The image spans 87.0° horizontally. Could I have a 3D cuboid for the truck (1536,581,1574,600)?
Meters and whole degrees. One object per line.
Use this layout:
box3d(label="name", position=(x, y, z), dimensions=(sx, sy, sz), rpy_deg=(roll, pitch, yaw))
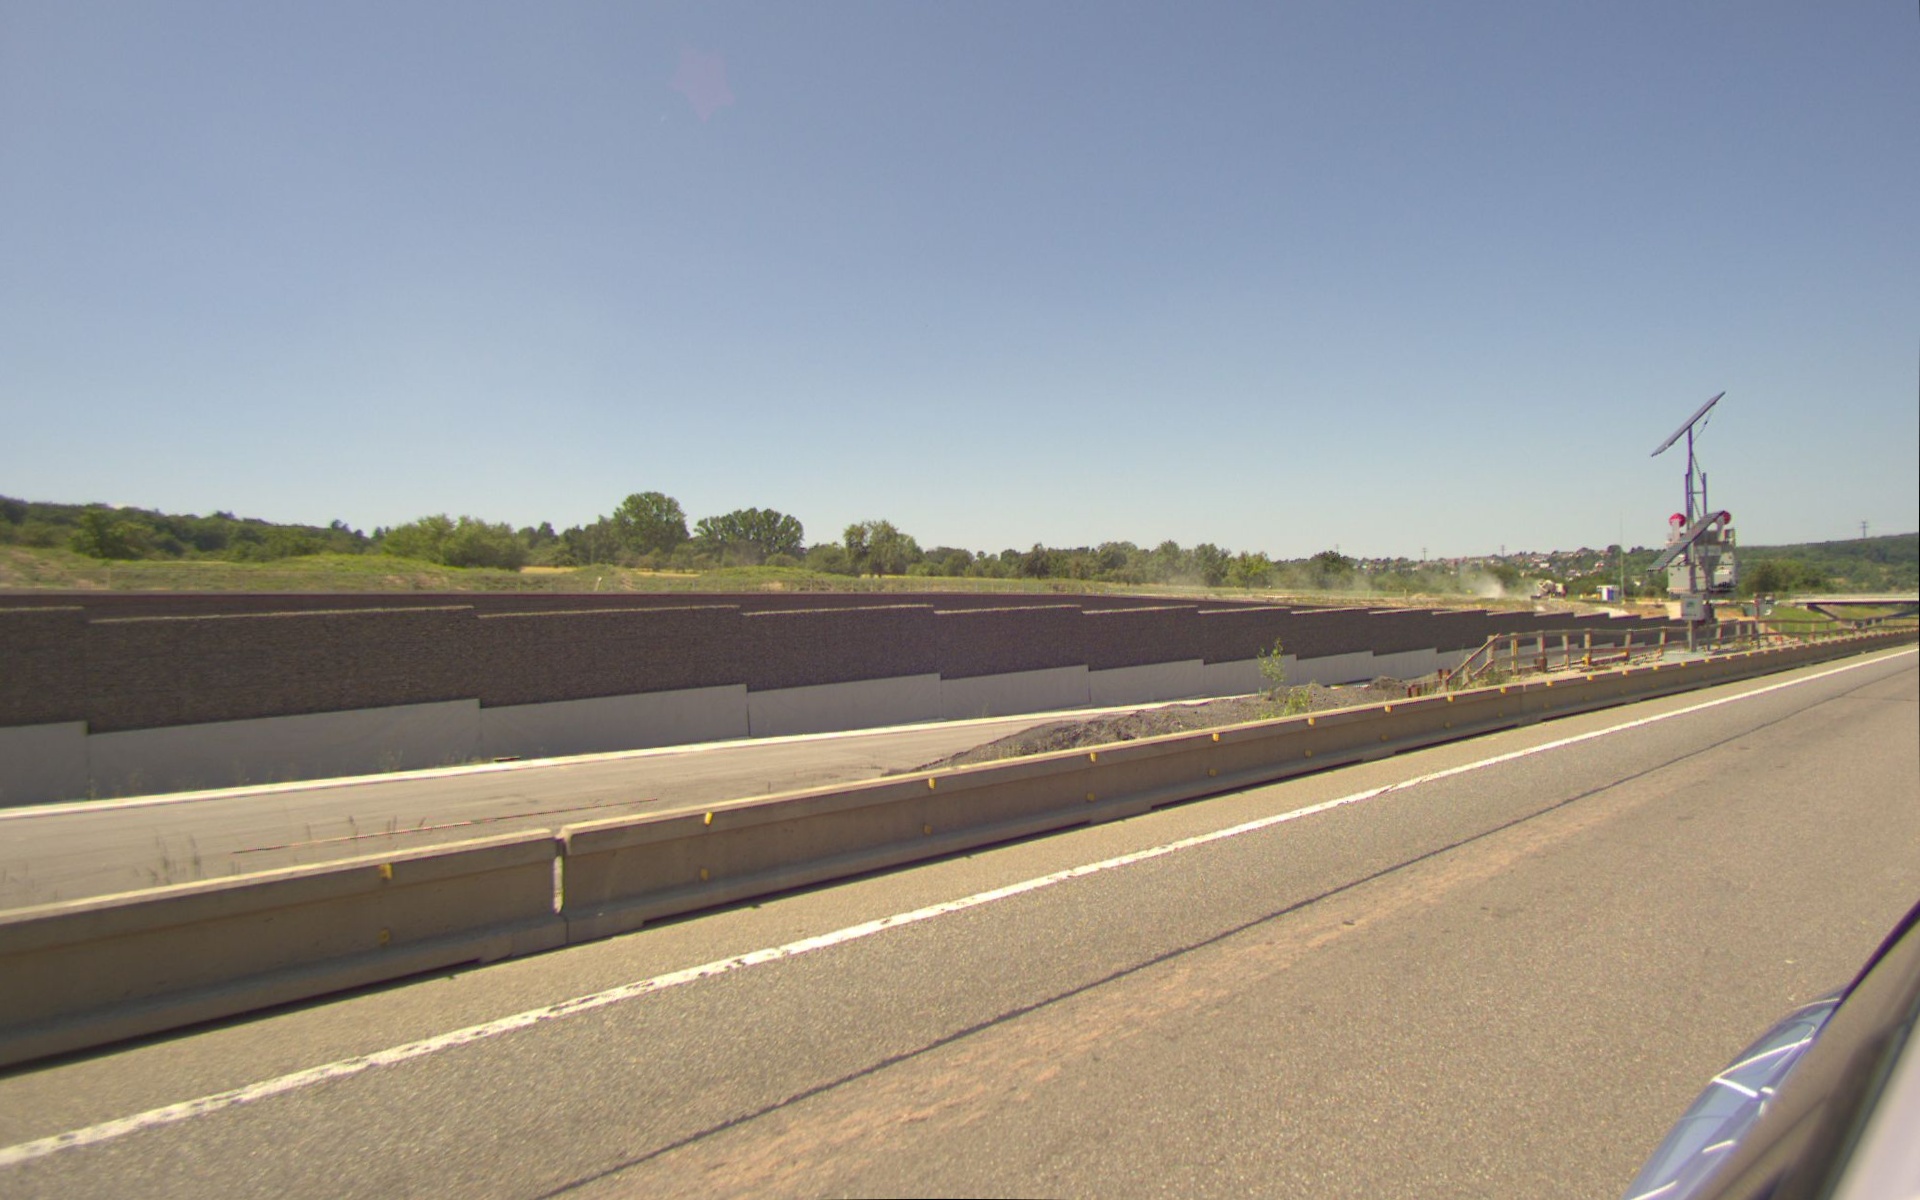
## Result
box3d(label="truck", position=(113.157, -1.806, 192.369), dimensions=(8.593, 3.510, 3.156), rpy_deg=(0, -1, -37))
